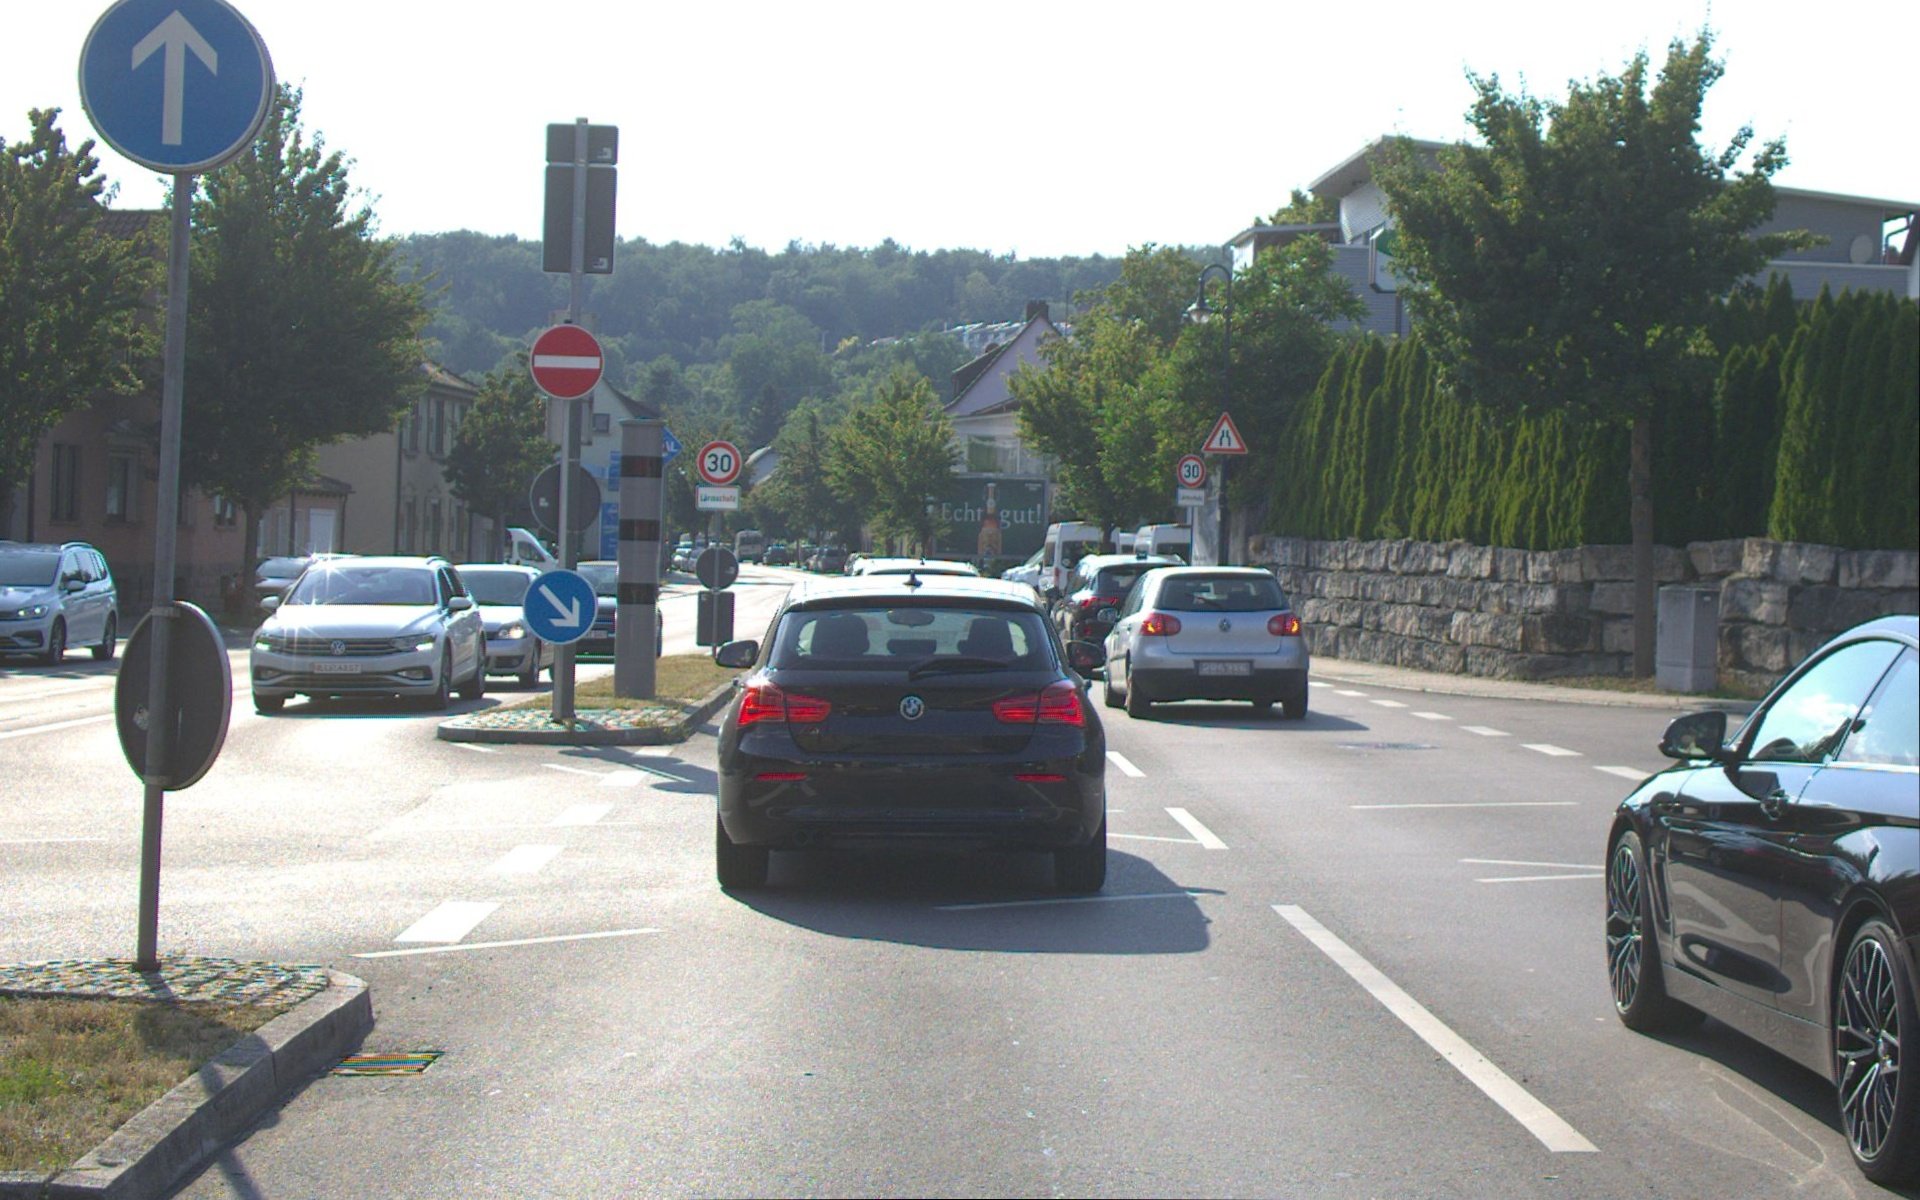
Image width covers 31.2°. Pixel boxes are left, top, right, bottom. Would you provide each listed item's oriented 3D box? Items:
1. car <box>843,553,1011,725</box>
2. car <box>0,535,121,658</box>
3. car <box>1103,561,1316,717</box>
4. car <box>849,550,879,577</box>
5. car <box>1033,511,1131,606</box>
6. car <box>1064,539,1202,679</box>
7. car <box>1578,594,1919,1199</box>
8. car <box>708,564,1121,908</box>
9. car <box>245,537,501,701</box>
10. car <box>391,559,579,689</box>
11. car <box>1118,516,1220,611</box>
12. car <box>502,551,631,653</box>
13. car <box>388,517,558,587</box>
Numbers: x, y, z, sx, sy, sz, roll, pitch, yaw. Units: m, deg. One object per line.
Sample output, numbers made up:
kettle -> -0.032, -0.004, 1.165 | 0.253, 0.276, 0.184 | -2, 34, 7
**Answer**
car -> -0.365, 0.350, 34.865 | 1.591, 1.595, 3.894 | 1, 1, -1
car -> -12.900, -0.091, 47.298 | 1.685, 1.606, 4.413 | 1, 1, -1
car -> 2.414, 0.349, 33.999 | 1.753, 1.409, 3.422 | 1, 1, -1
car -> -5.513, -2.110, 197.214 | 1.596, 1.480, 3.475 | 2, 1, -4
car -> 3.540, -1.257, 101.220 | 2.149, 2.671, 6.604 | 1, 1, -4
car -> 2.267, 0.084, 45.739 | 1.603, 1.761, 3.411 | 1, 1, 0
car -> 2.970, 0.715, 9.354 | 1.699, 1.364, 4.263 | 0, 1, -1
car -> -0.242, 0.567, 16.522 | 1.771, 1.451, 3.516 | 0, 1, -1
car -> -5.759, 0.138, 34.211 | 1.835, 1.483, 4.567 | 1, 1, -1
car -> -5.472, 0.246, 39.931 | 1.589, 1.422, 3.578 | 1, 0, 1
car -> 6.126, -1.119, 101.715 | 2.111, 2.712, 6.444 | 1, 1, -4
car -> -5.931, 0.006, 52.092 | 1.532, 1.457, 3.506 | 1, 1, 0
car -> -18.537, -1.839, 131.044 | 6.158, 2.436, 2.250 | 2, 1, -2
